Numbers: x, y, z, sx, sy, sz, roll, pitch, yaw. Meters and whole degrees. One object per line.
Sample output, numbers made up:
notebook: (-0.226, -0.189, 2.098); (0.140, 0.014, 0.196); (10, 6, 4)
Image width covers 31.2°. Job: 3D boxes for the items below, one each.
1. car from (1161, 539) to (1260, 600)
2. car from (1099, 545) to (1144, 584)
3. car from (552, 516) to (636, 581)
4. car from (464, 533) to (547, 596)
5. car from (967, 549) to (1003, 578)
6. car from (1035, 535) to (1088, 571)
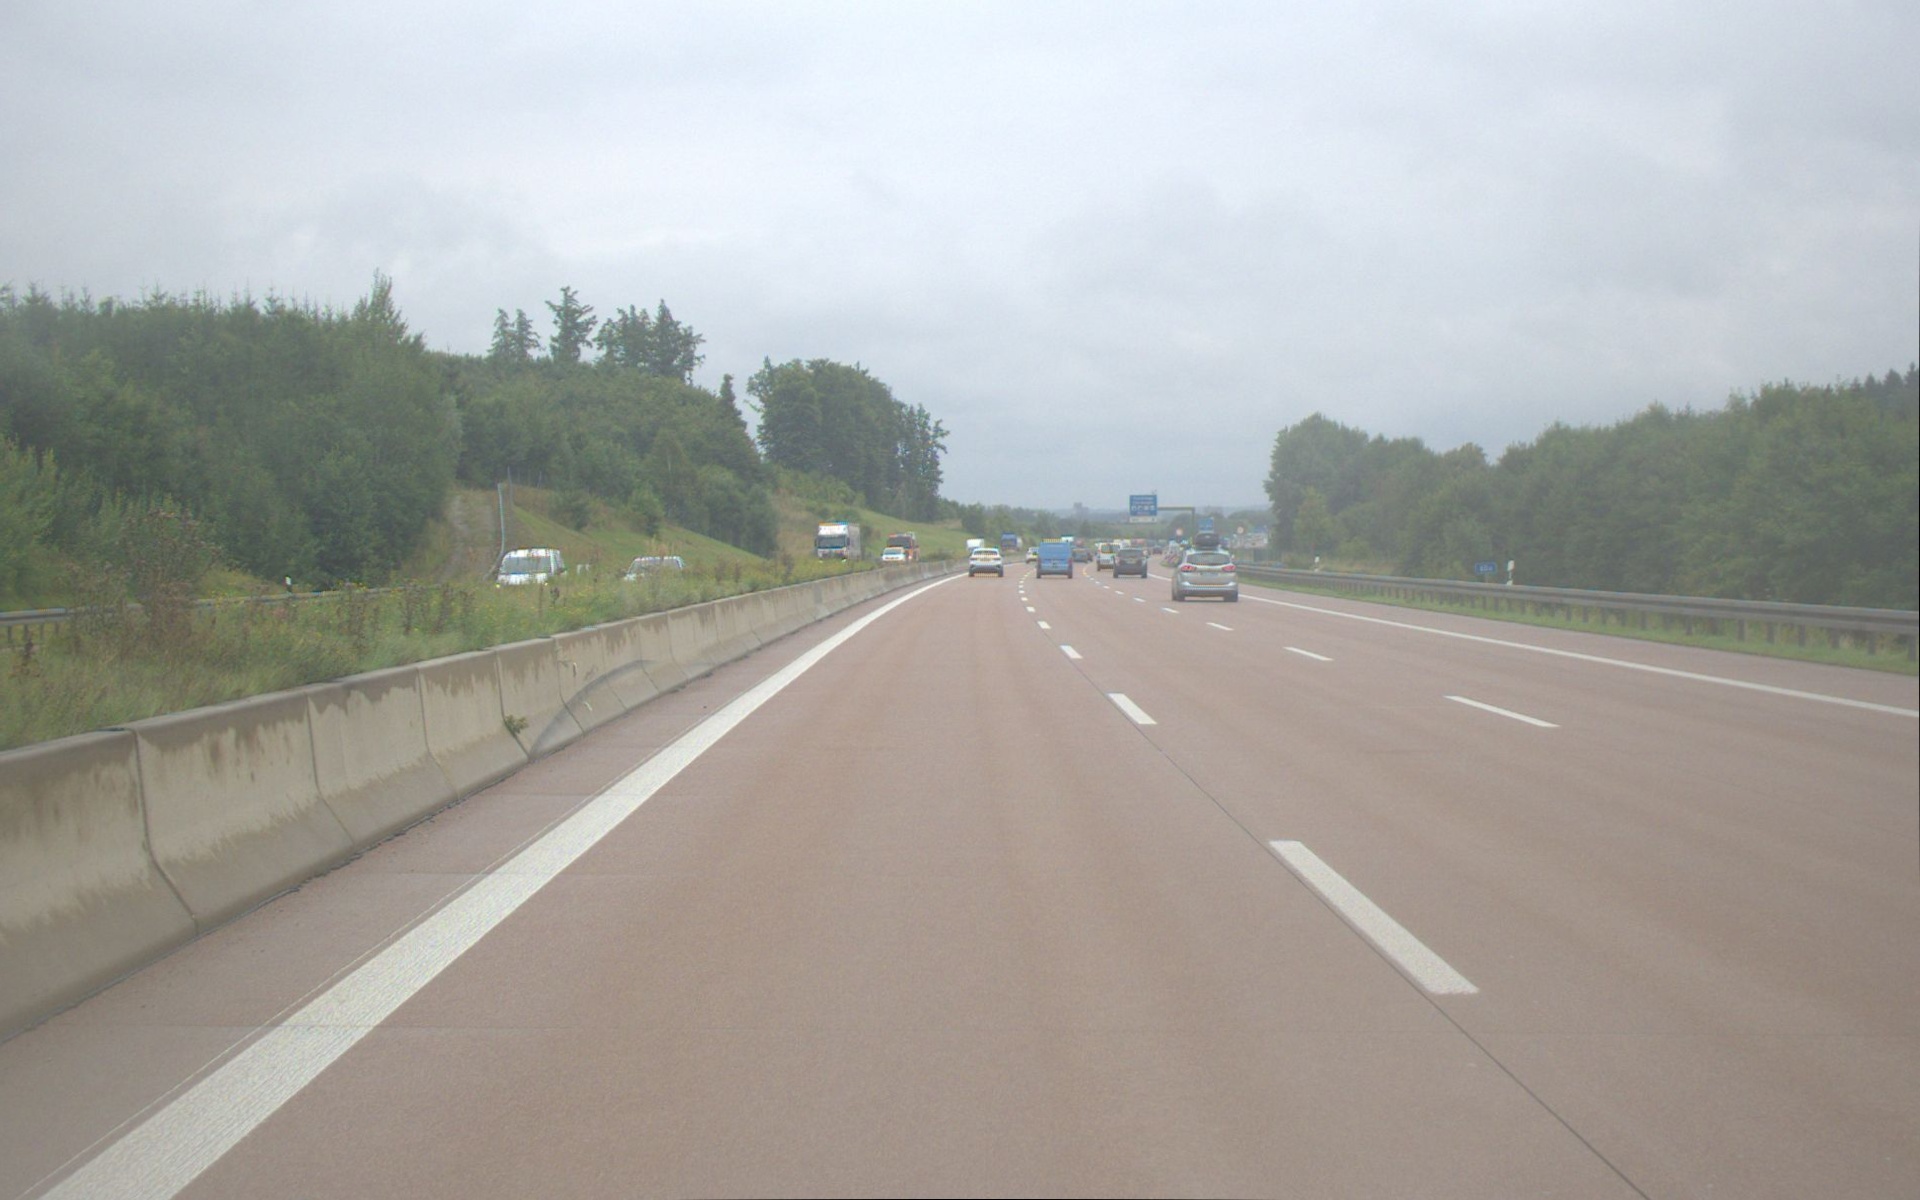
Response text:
car: (7.458, -0.896, 102.799); (2.322, 1.744, 4.877); (1, 0, -3)
car: (8.729, -1.897, 185.534); (1.993, 2.007, 4.000); (1, 0, -3)
car: (-9.685, -1.345, 91.227); (1.678, 1.641, 4.445); (1, 0, 0)
car: (-13.202, -1.014, 100.125); (1.733, 1.716, 4.762); (1, 0, 0)
car: (1.336, -1.956, 185.717); (1.874, 1.439, 4.877); (1, 0, 0)
car: (5.226, -2.425, 178.094); (2.322, 1.744, 4.877); (1, 0, -3)
